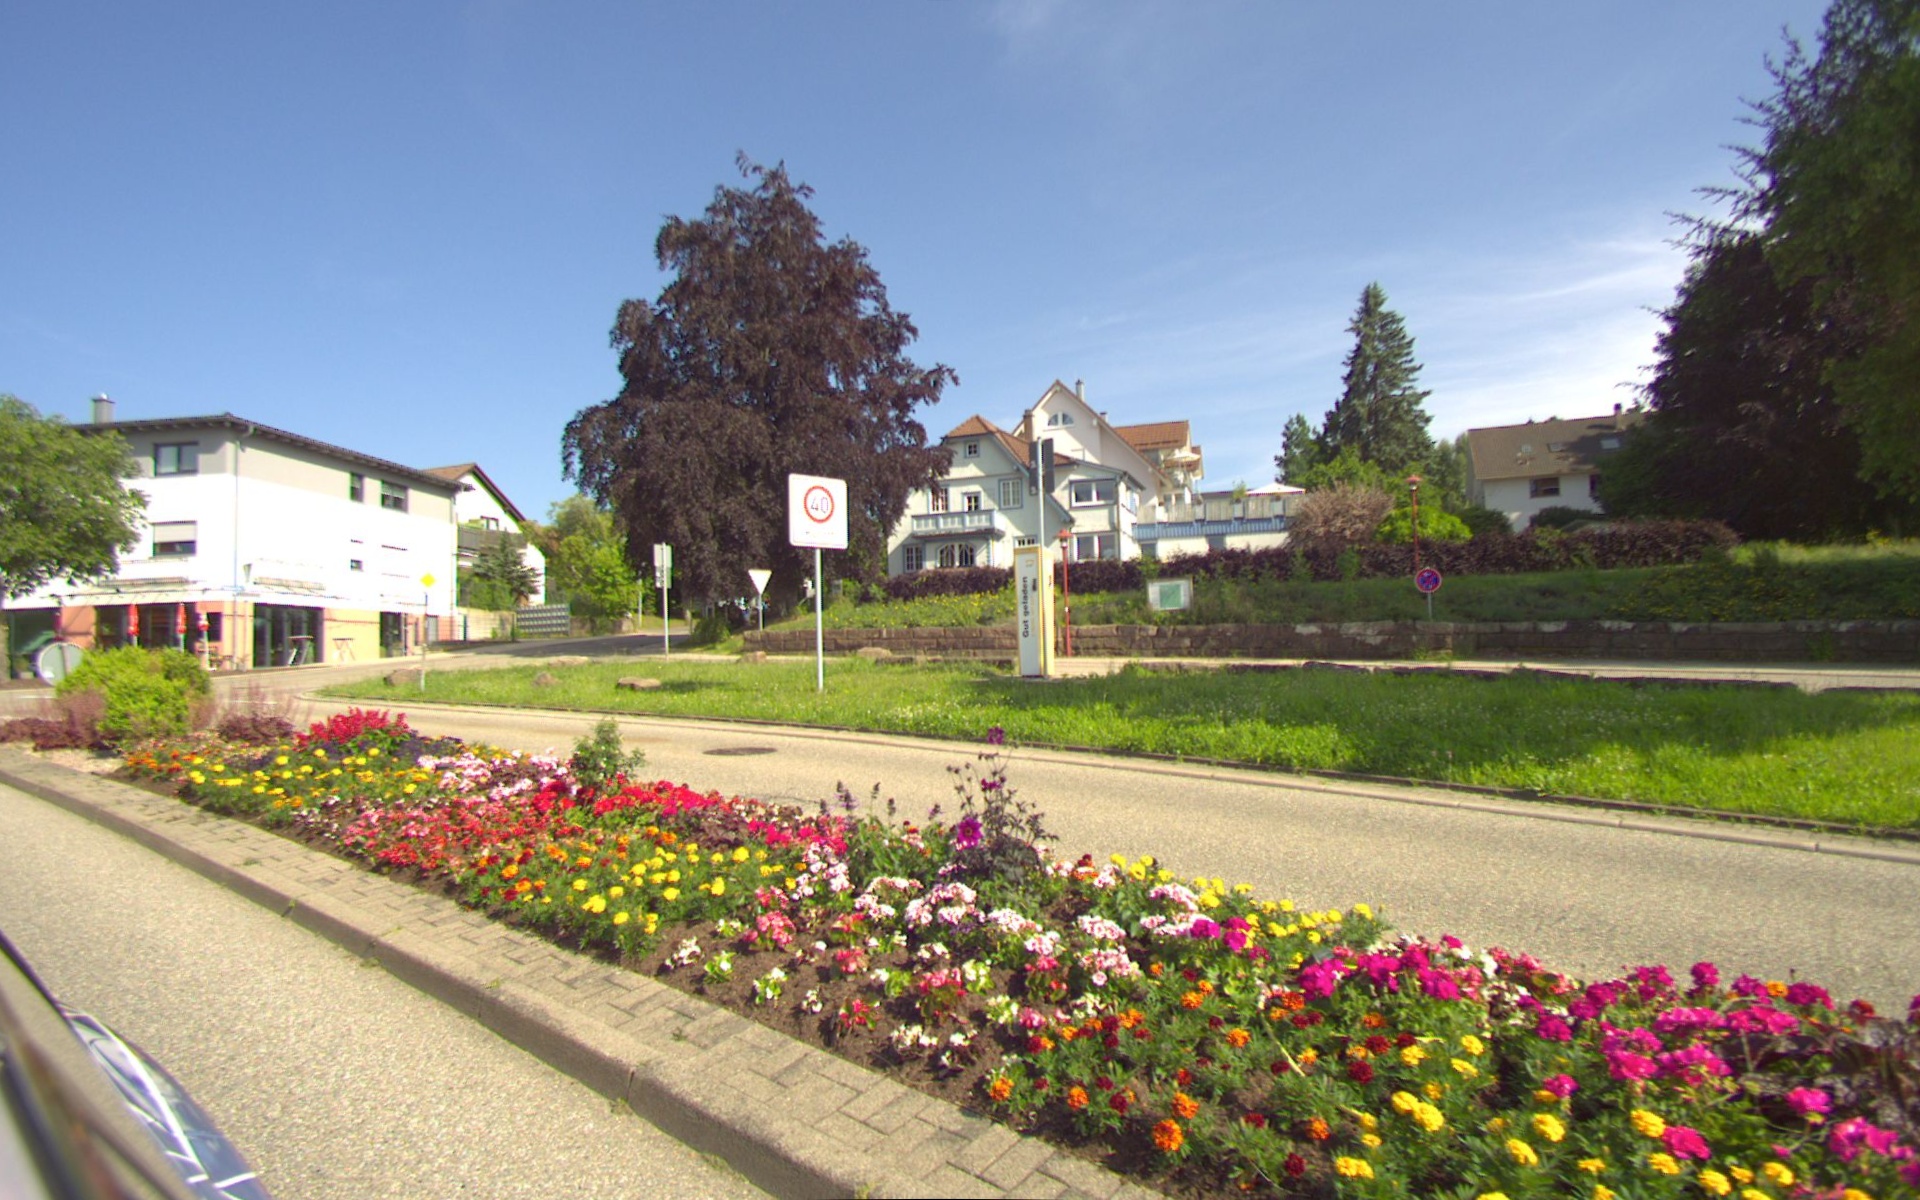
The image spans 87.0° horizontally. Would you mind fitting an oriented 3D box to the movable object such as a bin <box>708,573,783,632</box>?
[{"bbox_3d":[-10.958,0.091,52.055,1.978,2.790,5.090,-2,0,10],"label":"movable object such as a bin"}]
